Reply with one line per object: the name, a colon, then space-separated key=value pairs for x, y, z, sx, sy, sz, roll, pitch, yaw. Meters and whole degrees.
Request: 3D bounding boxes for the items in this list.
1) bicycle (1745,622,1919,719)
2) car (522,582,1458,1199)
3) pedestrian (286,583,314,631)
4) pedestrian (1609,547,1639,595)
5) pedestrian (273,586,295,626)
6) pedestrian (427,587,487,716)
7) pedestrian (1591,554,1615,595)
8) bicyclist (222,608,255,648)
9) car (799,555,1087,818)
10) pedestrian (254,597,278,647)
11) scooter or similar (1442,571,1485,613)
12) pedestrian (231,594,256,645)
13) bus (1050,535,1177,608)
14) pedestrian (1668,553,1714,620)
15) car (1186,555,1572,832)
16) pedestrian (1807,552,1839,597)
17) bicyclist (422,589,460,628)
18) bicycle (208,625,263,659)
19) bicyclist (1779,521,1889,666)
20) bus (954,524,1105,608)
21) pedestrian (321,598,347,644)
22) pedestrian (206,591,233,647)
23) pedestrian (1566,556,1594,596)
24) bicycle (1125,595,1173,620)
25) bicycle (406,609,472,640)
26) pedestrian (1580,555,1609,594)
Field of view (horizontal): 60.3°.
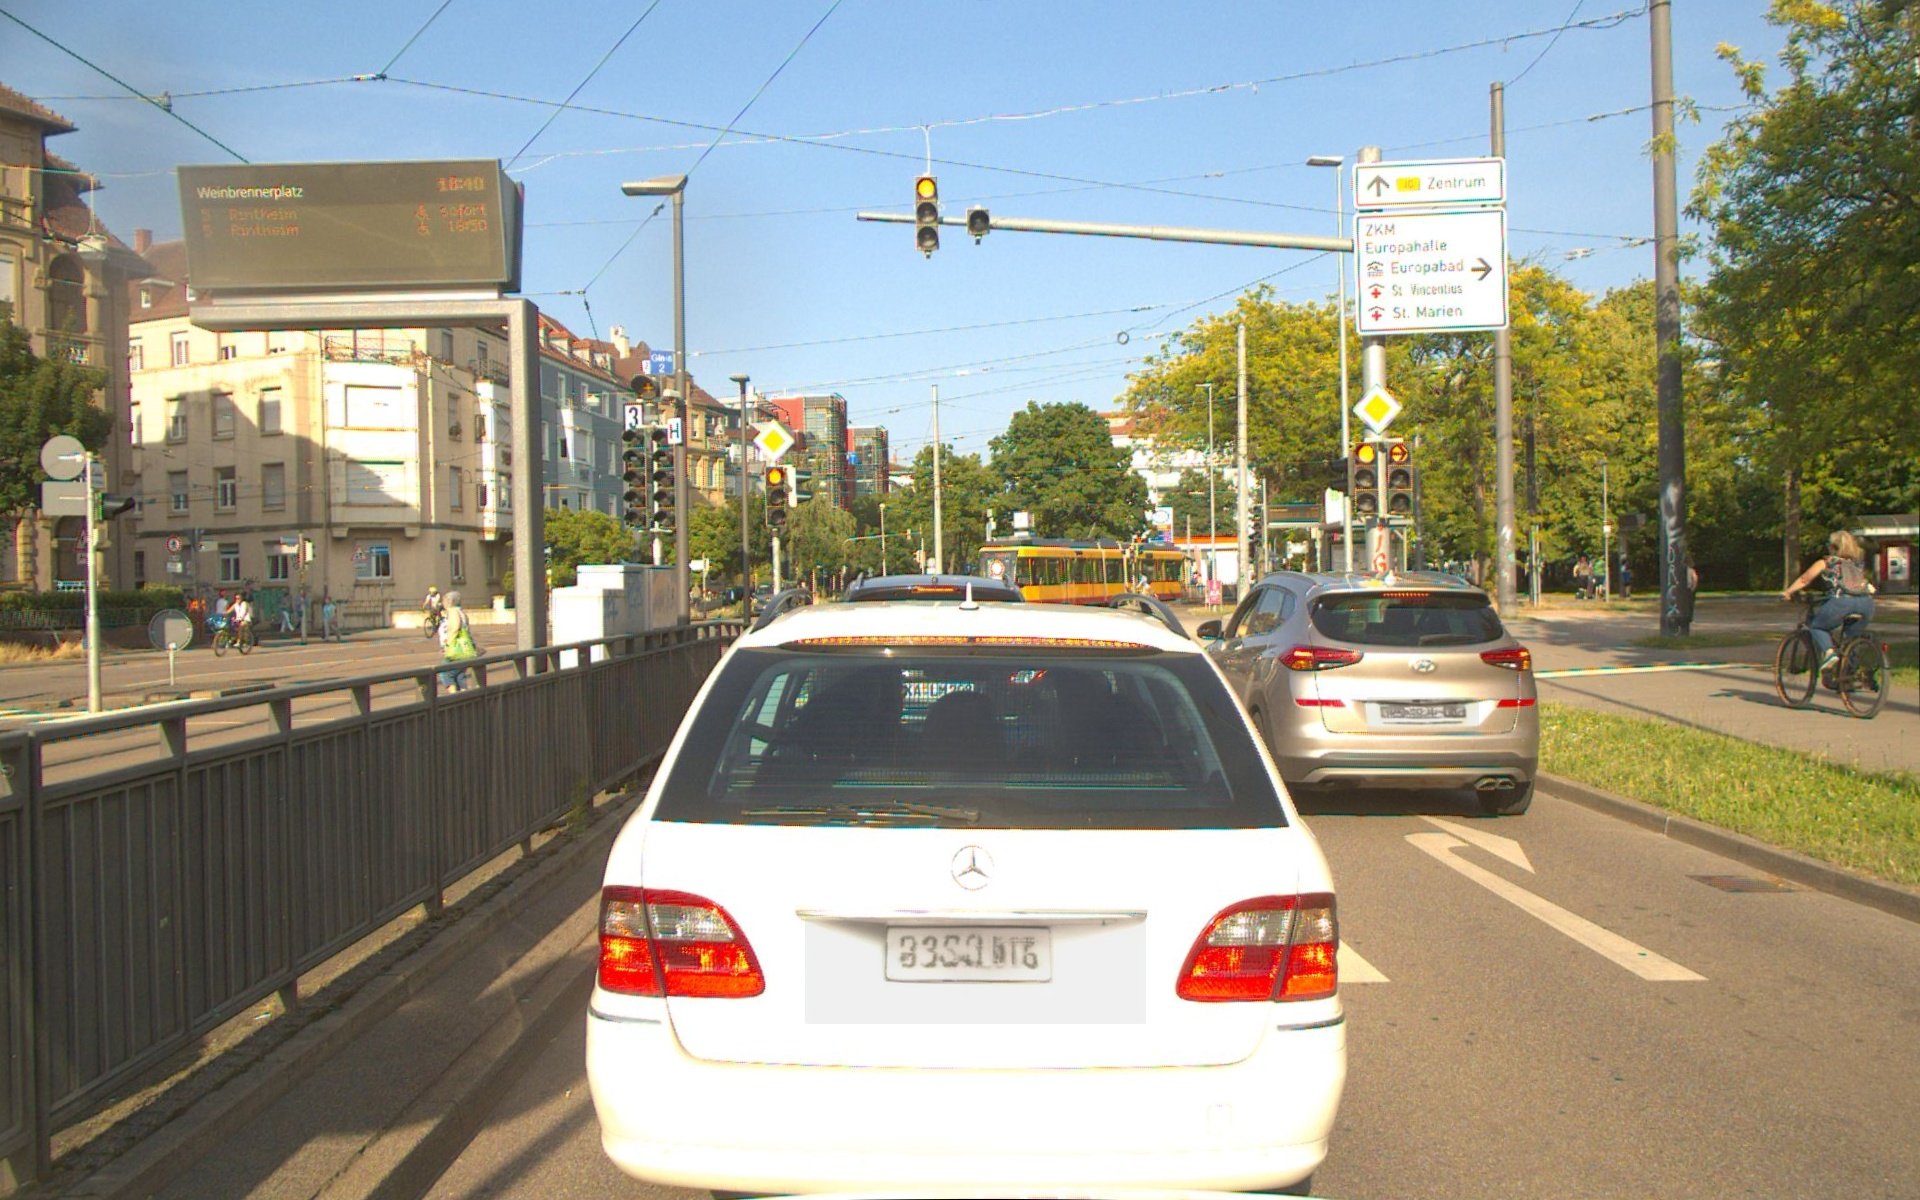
bicycle: x=8.099 y=0.626 z=15.414 sx=0.485 sy=0.770 sz=2.168 roll=-2 pitch=0 yaw=-1
car: x=0.031 y=0.703 z=4.936 sx=1.759 sy=1.496 sz=3.647 roll=0 pitch=0 yaw=-1
pedestrian: x=-28.379 y=0.285 z=71.108 sx=0.758 sy=2.049 sz=0.787 roll=-1 pitch=0 yaw=14
pedestrian: x=25.862 y=-1.122 z=64.422 sx=0.784 sy=1.816 sz=0.838 roll=-1 pitch=0 yaw=-5
pedestrian: x=-28.689 y=0.261 z=70.195 sx=0.606 sy=1.689 sz=0.586 roll=-1 pitch=0 yaw=14
pedestrian: x=-6.493 y=0.653 z=21.355 sx=0.601 sy=1.627 sz=0.632 roll=-1 pitch=0 yaw=-7
pedestrian: x=24.583 y=-0.973 z=63.246 sx=0.797 sy=1.513 sz=0.700 roll=-1 pitch=0 yaw=24
bicyclist: x=-19.625 y=0.763 z=45.017 sx=0.502 sy=1.062 sz=0.680 roll=-1 pitch=0 yaw=11
car: x=-0.128 y=0.549 z=12.567 sx=1.846 sy=1.680 sz=3.647 roll=1 pitch=0 yaw=-1
pedestrian: x=-21.577 y=0.677 z=51.413 sx=0.523 sy=1.527 sz=0.389 roll=-1 pitch=0 yaw=14
scooter or similar: x=13.944 y=-0.212 z=45.849 sx=0.413 sy=1.136 sz=1.322 roll=-1 pitch=0 yaw=-20
pedestrian: x=-21.656 y=0.585 z=49.984 sx=0.428 sy=1.527 sz=0.549 roll=-1 pitch=0 yaw=14
bus: x=8.645 y=-1.442 z=90.951 sx=3.046 sy=3.669 sz=12.583 roll=1 pitch=0 yaw=24
pedestrian: x=18.426 y=-0.349 z=41.694 sx=0.748 sy=1.665 sz=0.797 roll=-2 pitch=0 yaw=-40
car: x=2.881 y=0.572 z=12.203 sx=1.846 sy=1.680 sz=3.647 roll=-2 pitch=0 yaw=-1
pedestrian: x=32.534 y=-0.954 z=62.372 sx=0.818 sy=1.665 sz=0.803 roll=-1 pitch=0 yaw=5
bicyclist: x=-17.777 y=0.281 z=56.686 sx=0.747 sy=1.284 sz=1.175 roll=-1 pitch=0 yaw=12
bicycle: x=-19.645 y=1.144 z=44.884 sx=0.515 sy=0.849 sz=1.688 roll=-1 pitch=0 yaw=10
bicyclist: x=8.083 y=-0.062 z=15.325 sx=0.523 sy=1.284 sz=0.869 roll=-1 pitch=0 yaw=-1
bus: x=3.591 y=-1.516 z=79.541 sx=3.046 sy=3.669 sz=12.370 roll=1 pitch=0 yaw=23
pedestrian: x=-21.544 y=0.721 z=56.916 sx=0.616 sy=1.568 sz=0.711 roll=-1 pitch=0 yaw=-1
pedestrian: x=-22.377 y=0.571 z=50.002 sx=0.497 sy=1.654 sz=0.608 roll=-1 pitch=0 yaw=0
pedestrian: x=24.036 y=-0.927 z=64.141 sx=0.809 sy=1.513 sz=0.690 roll=-2 pitch=0 yaw=-42
bicycle: x=9.781 y=0.369 z=85.401 sx=2.430 sy=1.234 sz=0.807 roll=-1 pitch=0 yaw=7
bicycle: x=-17.807 y=0.827 z=56.608 sx=0.767 sy=0.930 sz=3.000 roll=-1 pitch=0 yaw=12
pedestrian: x=24.843 y=-0.993 z=64.762 sx=0.799 sy=1.513 sz=0.699 roll=-1 pitch=0 yaw=-12
